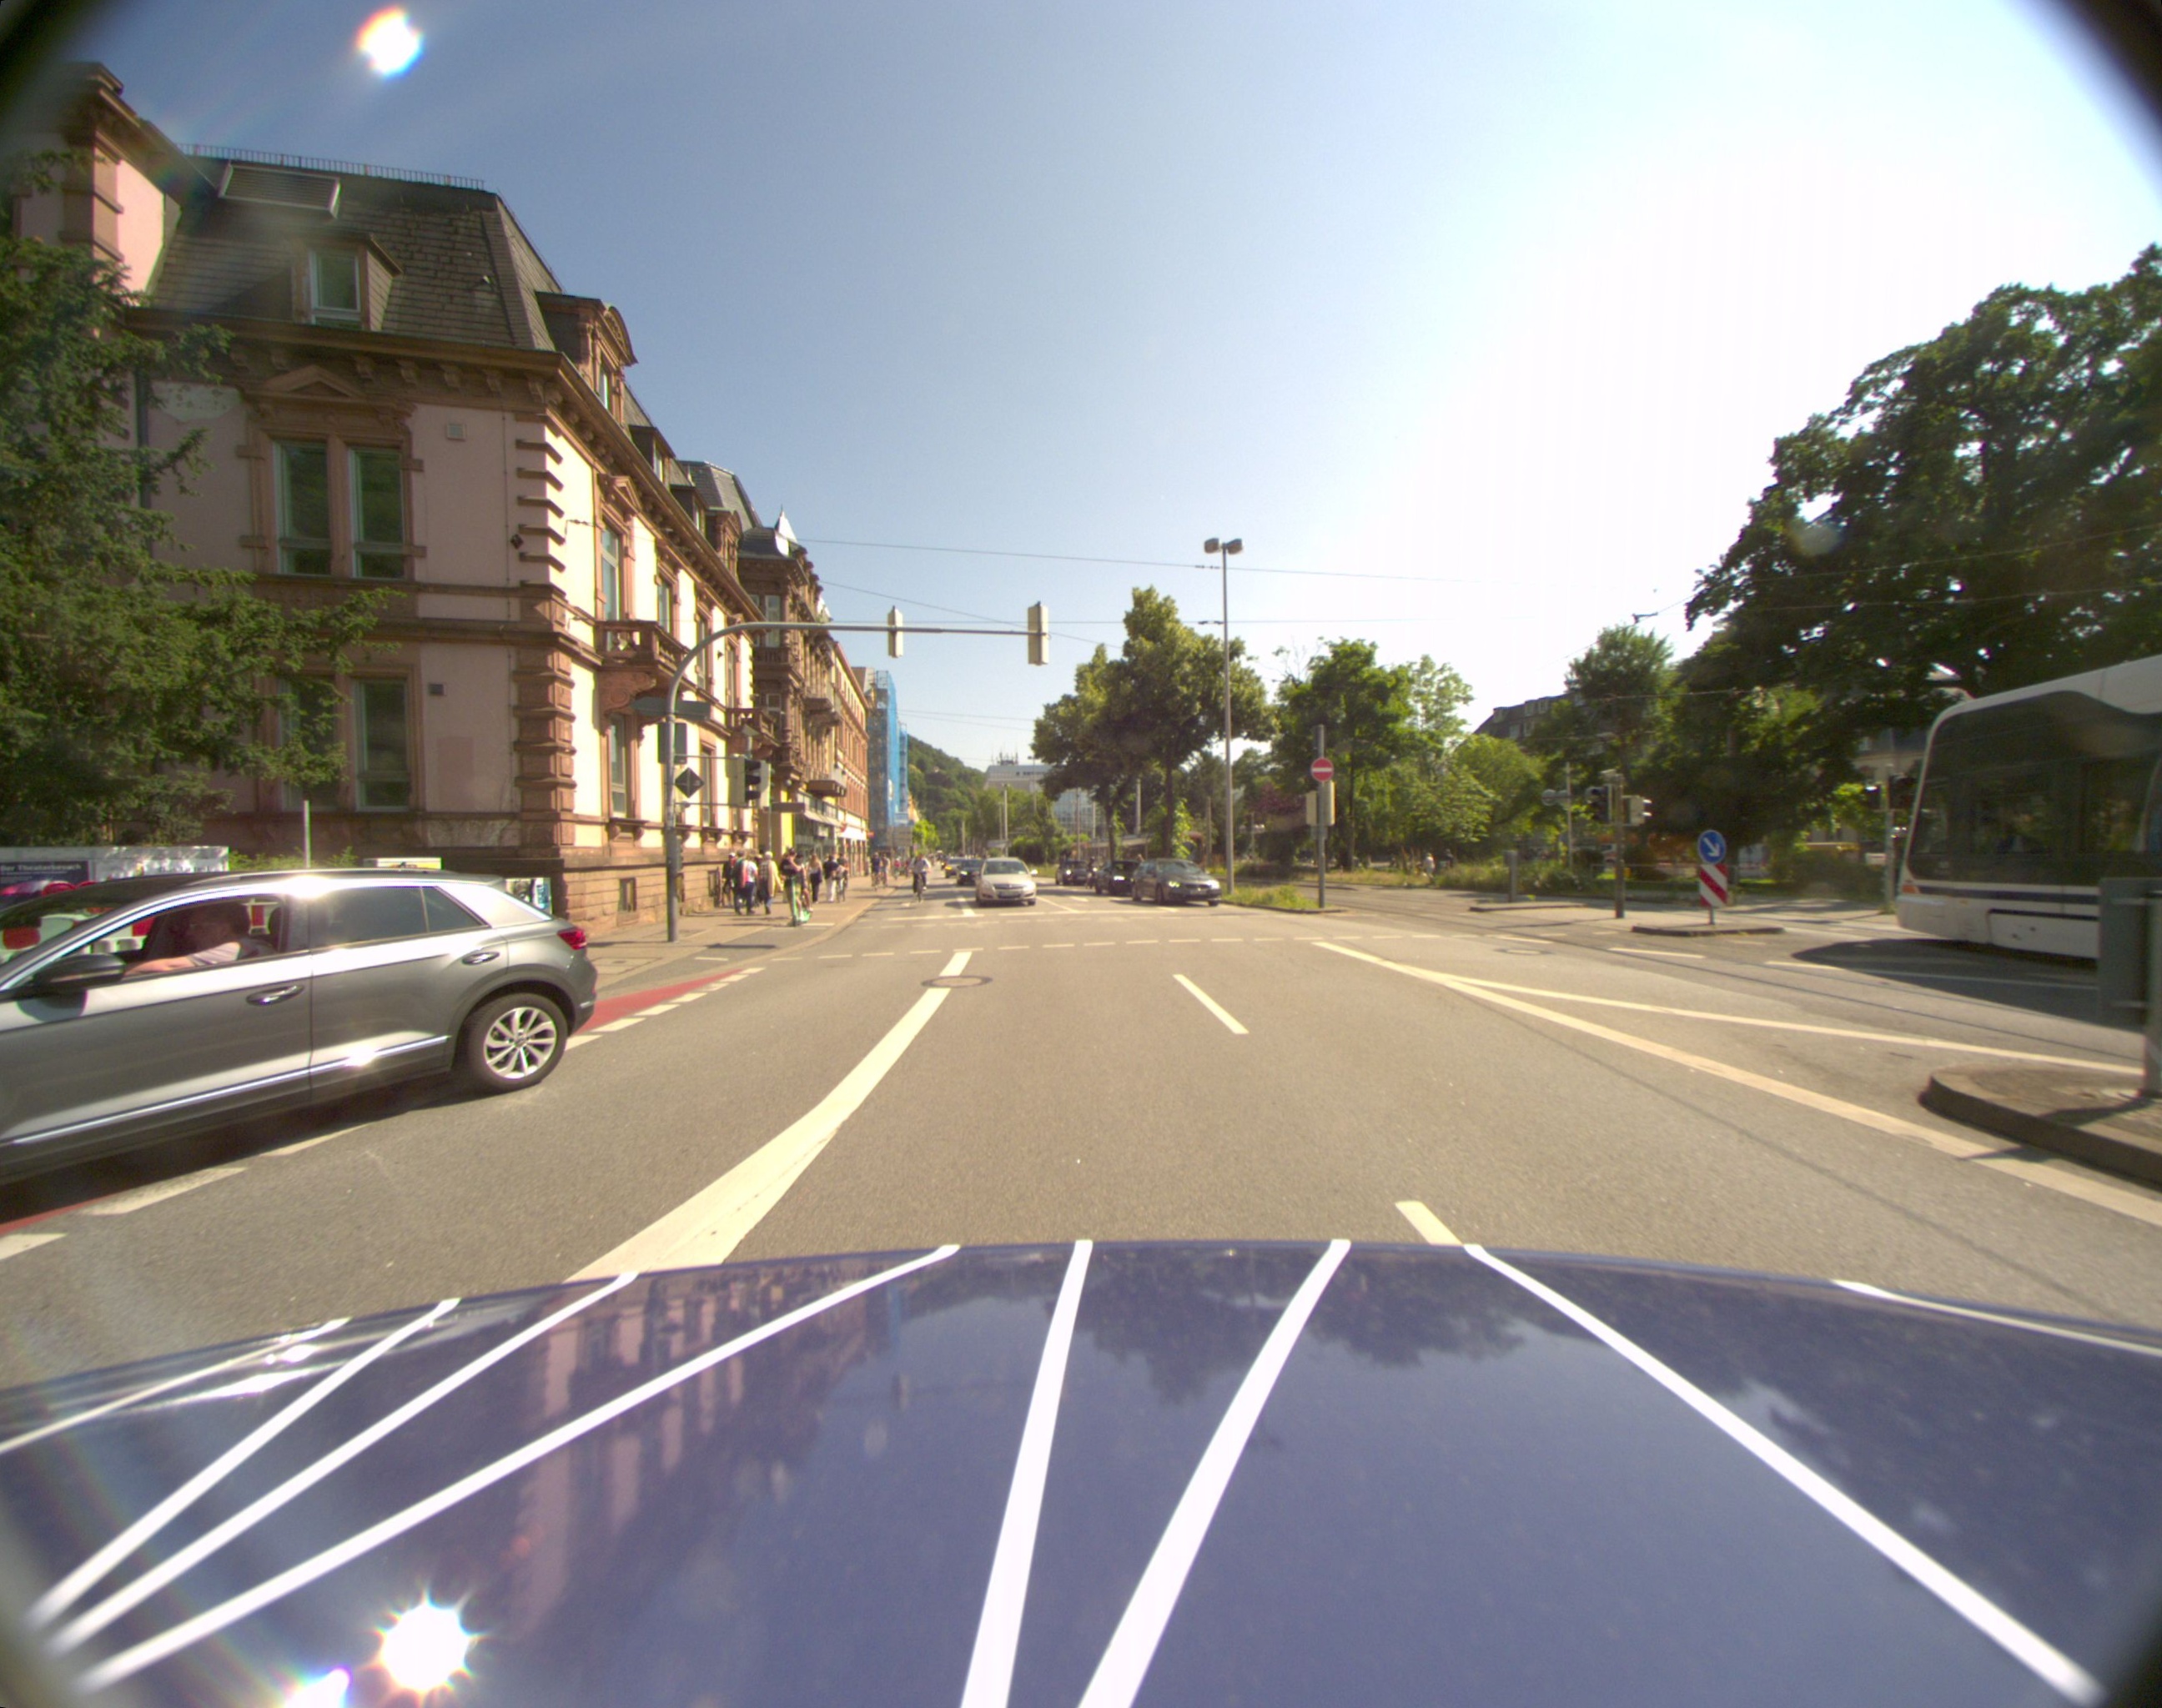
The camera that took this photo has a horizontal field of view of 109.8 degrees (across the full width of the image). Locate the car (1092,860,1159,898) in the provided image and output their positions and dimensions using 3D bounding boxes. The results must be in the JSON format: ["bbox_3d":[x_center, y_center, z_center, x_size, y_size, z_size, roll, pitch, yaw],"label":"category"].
[{"bbox_3d":[1.681,0.942,30.365,1.799,1.403,3.996,0,0,-10],"label":"car"}]

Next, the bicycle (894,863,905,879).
[{"bbox_3d":[-12.926,1.172,54.110,0.644,1.076,2.494,0,0,-11],"label":"bicycle"}]

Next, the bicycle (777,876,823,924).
[{"bbox_3d":[-7.052,1.123,19.181,0.781,1.096,2.136,0,0,-12],"label":"bicycle"}]

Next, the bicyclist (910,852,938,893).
[{"bbox_3d":[-5.457,0.622,26.347,0.913,1.385,1.231,0,0,-13],"label":"bicyclist"}]

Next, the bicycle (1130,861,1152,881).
[{"bbox_3d":[3.587,1.020,45.876,0.644,1.077,2.493,-1,1,-11],"label":"bicycle"}]

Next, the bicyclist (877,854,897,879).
[{"bbox_3d":[-9.619,0.622,37.667,0.913,1.227,1.231,0,0,-12],"label":"bicyclist"}]

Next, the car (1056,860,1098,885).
[{"bbox_3d":[-0.290,1.010,42.376,1.639,1.301,3.910,0,0,-11],"label":"car"}]

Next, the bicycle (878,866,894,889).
[{"bbox_3d":[-9.632,1.131,37.558,0.644,1.076,2.494,0,0,-11],"label":"bicycle"}]

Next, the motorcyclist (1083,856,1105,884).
[{"bbox_3d":[0.628,0.781,37.760,0.903,1.350,0.992,0,0,-12],"label":"motorcyclist"}]

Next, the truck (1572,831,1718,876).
[{"bbox_3d":[57.084,-0.009,77.506,3.636,4.238,11.790,0,0,-22],"label":"truck"}]

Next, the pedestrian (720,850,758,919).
[{"bbox_3d":[-8.954,0.780,19.907,0.708,1.743,0.902,-1,2,-12],"label":"pedestrian"}]

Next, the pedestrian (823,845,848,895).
[{"bbox_3d":[-10.054,0.658,31.133,0.814,2.002,0.814,2,0,-12],"label":"pedestrian"}]

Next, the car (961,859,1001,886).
[{"bbox_3d":[-5.401,0.969,40.729,1.896,1.323,3.997,-2,0,-10],"label":"car"}]

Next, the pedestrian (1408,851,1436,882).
[{"bbox_3d":[18.313,0.672,40.840,1.039,1.610,0.934,0,0,-4],"label":"pedestrian"}]

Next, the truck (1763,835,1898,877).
[{"bbox_3d":[60.824,0.180,61.962,2.467,3.196,7.643,0,0,-15],"label":"truck"}]

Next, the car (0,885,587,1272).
[{"bbox_3d":[-5.205,1.001,3.970,1.931,1.507,3.999,-2,-1,20],"label":"car"}]

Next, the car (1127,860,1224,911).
[{"bbox_3d":[2.888,0.942,24.443,1.754,1.477,4.743,1,-1,-10],"label":"car"}]

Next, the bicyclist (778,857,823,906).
[{"bbox_3d":[-7.056,0.677,19.133,0.924,1.212,0.971,0,0,-12],"label":"bicyclist"}]

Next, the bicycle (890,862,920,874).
[{"bbox_3d":[-15.480,1.207,66.702,2.496,1.076,0.643,0,0,-7],"label":"bicycle"}]

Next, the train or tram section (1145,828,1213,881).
[{"bbox_3d":[6.515,0.041,51.410,2.769,3.383,5.881,0,0,-11],"label":"train or tram section"}]

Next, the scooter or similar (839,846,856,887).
[{"bbox_3d":[-11.675,0.631,38.048,0.694,2.002,1.094,0,0,-11],"label":"scooter or similar"}]

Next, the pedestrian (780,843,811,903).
[{"bbox_3d":[-9.795,0.637,26.077,0.814,2.002,0.814,2,0,-12],"label":"pedestrian"}]

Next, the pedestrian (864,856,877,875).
[{"bbox_3d":[-17.417,0.925,62.800,0.913,1.591,1.231,0,0,-12],"label":"pedestrian"}]

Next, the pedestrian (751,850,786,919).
[{"bbox_3d":[-8.254,0.790,20.080,0.708,1.758,0.902,0,0,-12],"label":"pedestrian"}]

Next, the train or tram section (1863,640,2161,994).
[{"bbox_3d":[12.688,-0.400,7.706,2.540,3.755,9.181,0,0,17],"label":"train or tram section"}]

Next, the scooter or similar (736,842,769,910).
[{"bbox_3d":[-9.912,0.646,22.979,0.694,2.002,1.094,0,0,-11],"label":"scooter or similar"}]

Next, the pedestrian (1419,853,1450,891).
[{"bbox_3d":[18.580,0.947,39.972,1.225,2.002,0.802,0,0,-4],"label":"pedestrian"}]

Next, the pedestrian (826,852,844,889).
[{"bbox_3d":[-11.461,0.771,35.404,0.707,1.685,0.628,0,2,-8],"label":"pedestrian"}]

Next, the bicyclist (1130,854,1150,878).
[{"bbox_3d":[3.557,0.710,45.932,0.913,1.385,1.231,0,0,-12],"label":"bicyclist"}]

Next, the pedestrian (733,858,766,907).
[{"bbox_3d":[-10.911,0.926,25.021,0.814,1.593,0.814,1,0,-12],"label":"pedestrian"}]

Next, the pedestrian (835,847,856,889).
[{"bbox_3d":[-11.497,0.677,37.135,0.814,2.002,0.814,2,0,-12],"label":"pedestrian"}]

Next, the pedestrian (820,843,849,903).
[{"bbox_3d":[-8.437,0.661,26.052,0.814,2.002,0.814,2,0,-12],"label":"pedestrian"}]

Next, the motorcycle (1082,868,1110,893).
[{"bbox_3d":[0.708,1.267,37.517,0.903,1.156,2.350,0,0,-11],"label":"motorcycle"}]

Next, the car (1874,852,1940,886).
[{"bbox_3d":[52.547,0.914,48.312,4.564,2.002,1.995,-1,1,-31],"label":"car"}]

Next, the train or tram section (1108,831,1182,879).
[{"bbox_3d":[4.820,0.096,60.515,2.769,3.383,12.400,0,0,-10],"label":"train or tram section"}]

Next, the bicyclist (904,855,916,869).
[{"bbox_3d":[-13.401,0.618,59.561,0.913,1.076,1.231,0,0,-12],"label":"bicyclist"}]

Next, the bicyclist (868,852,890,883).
[{"bbox_3d":[-9.366,0.612,35.258,0.913,1.428,1.231,0,0,-12],"label":"bicyclist"}]

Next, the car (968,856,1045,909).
[{"bbox_3d":[-2.471,0.833,24.157,1.804,1.492,4.492,-1,0,-14],"label":"car"}]

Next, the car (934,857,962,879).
[{"bbox_3d":[-9.975,1.051,57.211,2.000,1.564,3.997,-2,0,-9],"label":"car"}]

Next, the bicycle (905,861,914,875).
[{"bbox_3d":[-13.401,1.081,59.512,0.644,1.076,2.494,0,0,-11],"label":"bicycle"}]

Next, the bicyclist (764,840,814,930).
[{"bbox_3d":[-6.685,0.690,17.428,0.945,2.002,0.829,0,0,-12],"label":"bicyclist"}]

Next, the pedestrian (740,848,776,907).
[{"bbox_3d":[-10.109,0.731,23.806,0.814,1.782,0.814,2,0,-12],"label":"pedestrian"}]

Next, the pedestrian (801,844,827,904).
[{"bbox_3d":[-9.009,0.670,25.667,0.662,2.002,0.699,2,0,-12],"label":"pedestrian"}]

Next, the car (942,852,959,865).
[{"bbox_3d":[-16.573,0.537,96.332,2.000,1.564,3.997,-2,0,-9],"label":"car"}]

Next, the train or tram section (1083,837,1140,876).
[{"bbox_3d":[2.657,0.249,72.580,2.769,3.383,12.399,0,0,-11],"label":"train or tram section"}]

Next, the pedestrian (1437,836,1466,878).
[{"bbox_3d":[19.056,0.174,39.082,1.127,2.138,0.802,0,0,-4],"label":"pedestrian"}]

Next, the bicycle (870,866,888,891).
[{"bbox_3d":[-9.391,1.137,35.378,0.644,1.076,2.494,0,0,-11],"label":"bicycle"}]

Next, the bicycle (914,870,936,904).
[{"bbox_3d":[-5.423,1.114,26.335,0.644,1.076,2.493,0,0,-13],"label":"bicycle"}]

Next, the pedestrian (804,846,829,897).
[{"bbox_3d":[-10.723,0.701,30.818,0.814,2.002,0.814,2,0,-12],"label":"pedestrian"}]

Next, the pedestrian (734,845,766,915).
[{"bbox_3d":[-9.096,0.711,20.921,0.637,1.880,0.902,0,0,-12],"label":"pedestrian"}]

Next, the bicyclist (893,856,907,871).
[{"bbox_3d":[-12.927,0.659,54.178,0.913,1.062,1.231,0,0,-12],"label":"bicyclist"}]
